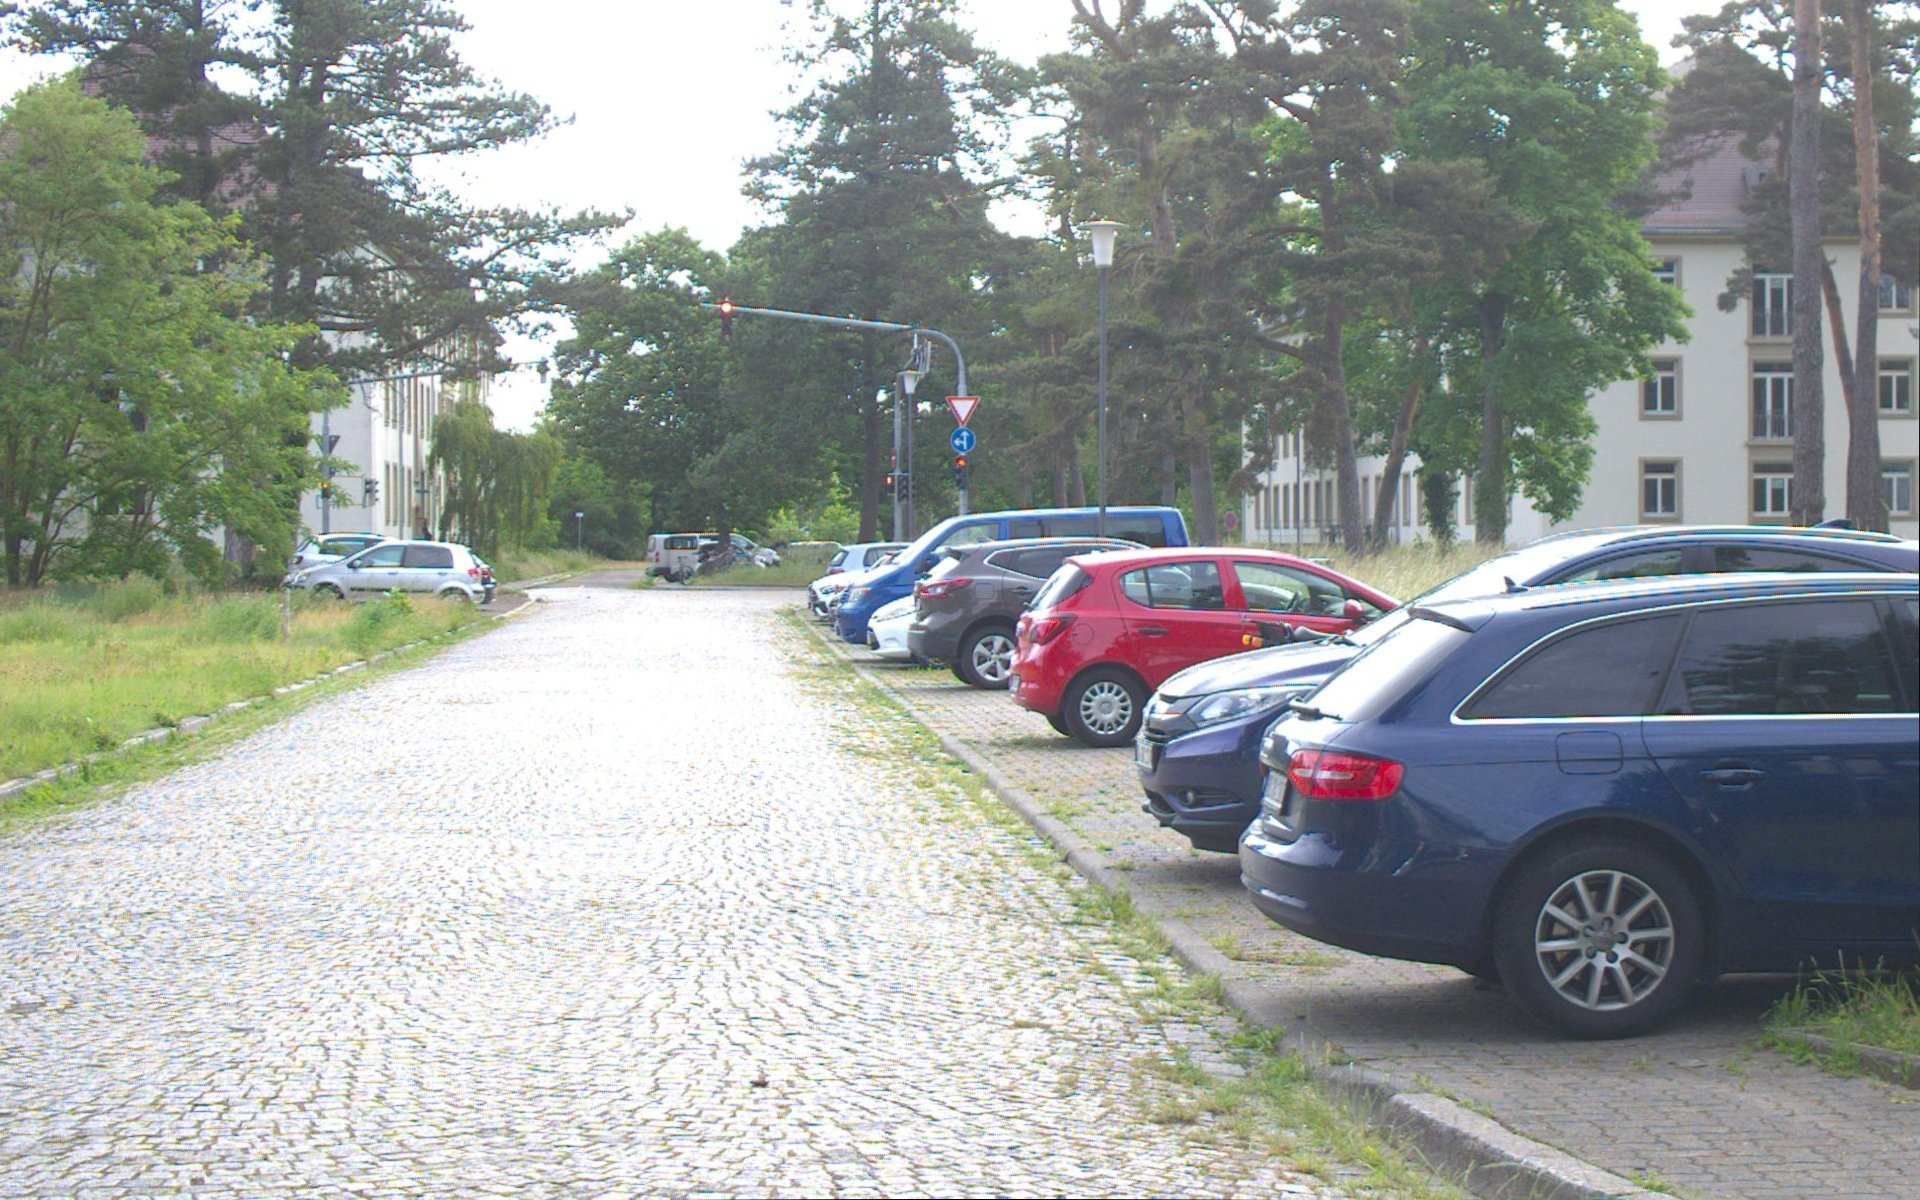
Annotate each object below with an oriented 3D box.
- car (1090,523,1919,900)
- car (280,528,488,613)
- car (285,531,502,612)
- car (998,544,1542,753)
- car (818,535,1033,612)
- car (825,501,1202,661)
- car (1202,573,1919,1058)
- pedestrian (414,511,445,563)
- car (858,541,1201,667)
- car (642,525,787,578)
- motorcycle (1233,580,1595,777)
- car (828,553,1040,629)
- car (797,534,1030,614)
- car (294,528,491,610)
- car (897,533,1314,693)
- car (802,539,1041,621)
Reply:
[{"bbox_3d":[2.861,0.469,16.361,4.244,1.617,1.887,-1,1,-6],"label":"car"},{"bbox_3d":[-12.243,-0.641,73.186,4.297,1.726,1.653,-1,1,-9],"label":"car"},{"bbox_3d":[-11.602,-0.596,70.417,4.297,1.548,1.812,-1,1,-10],"label":"car"},{"bbox_3d":[2.347,0.345,26.656,3.922,1.491,1.785,-1,1,-6],"label":"car"},{"bbox_3d":[-0.709,-0.548,69.485,4.134,1.458,1.634,-1,1,-9],"label":"car"},{"bbox_3d":[0.675,-0.273,45.789,4.794,1.997,1.967,-1,1,-6],"label":"car"},{"bbox_3d":[3.103,0.646,11.648,4.356,1.434,1.927,-1,1,-2],"label":"car"},{"bbox_3d":[-20.509,-2.432,132.907,1.074,1.952,1.121,1,1,-4],"label":"pedestrian"},{"bbox_3d":[0.842,0.032,43.255,4.097,1.473,1.722,-1,1,-7],"label":"car"},{"bbox_3d":[-9.720,-1.923,135.949,5.374,2.094,2.179,0,1,-16],"label":"car"},{"bbox_3d":[2.923,0.498,22.192,2.229,1.197,0.568,-1,1,-6],"label":"motorcycle"},{"bbox_3d":[-0.474,-0.165,59.456,3.586,1.218,1.629,-1,1,-3],"label":"car"},{"bbox_3d":[-0.923,-0.520,66.911,4.227,1.474,1.710,-1,1,-15],"label":"car"},{"bbox_3d":[-11.177,-0.614,67.842,3.720,1.476,1.673,2,1,-7],"label":"car"},{"bbox_3d":[1.522,0.111,36.928,4.202,1.589,1.953,-1,1,-6],"label":"car"},{"bbox_3d":[-0.735,-0.387,64.151,4.184,1.432,1.756,-1,1,-11],"label":"car"}]
